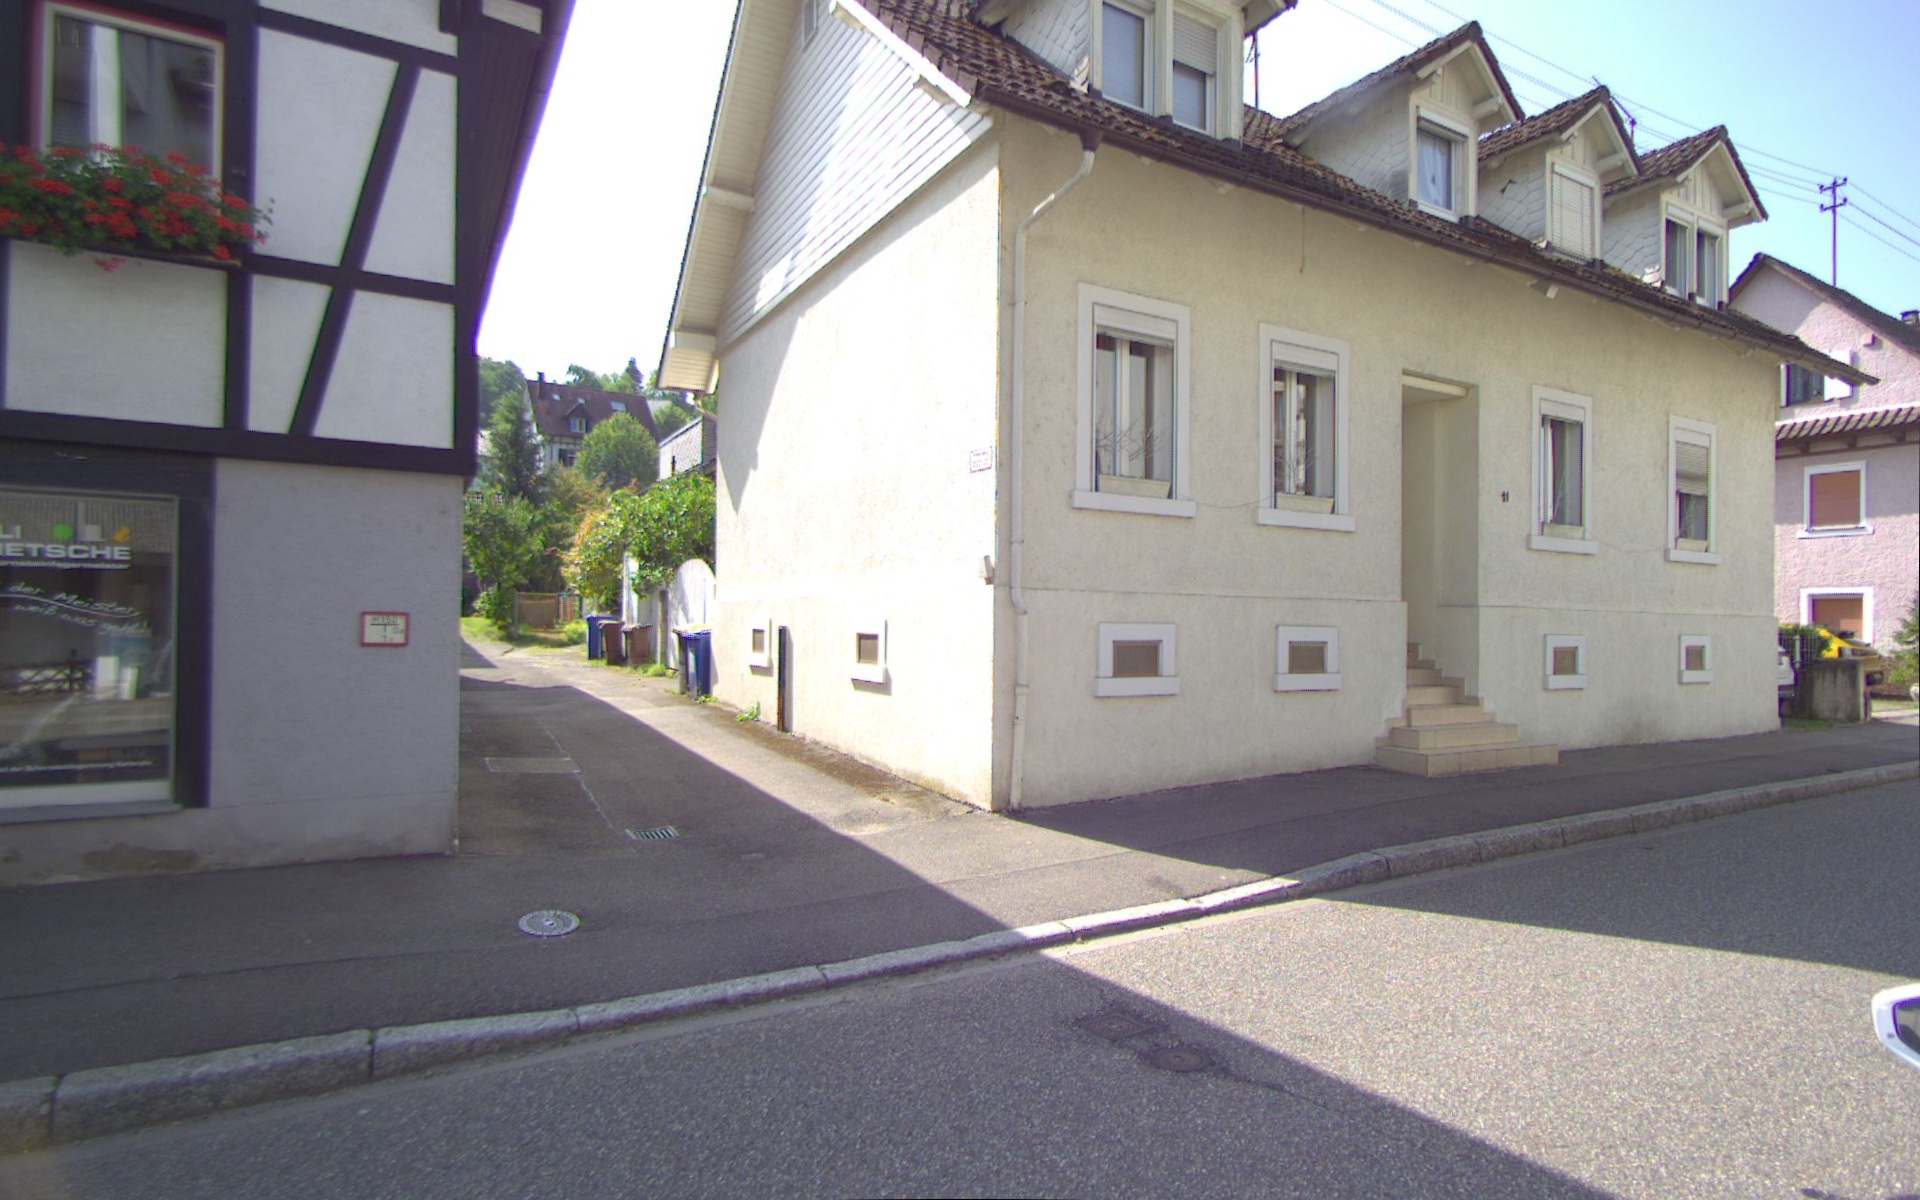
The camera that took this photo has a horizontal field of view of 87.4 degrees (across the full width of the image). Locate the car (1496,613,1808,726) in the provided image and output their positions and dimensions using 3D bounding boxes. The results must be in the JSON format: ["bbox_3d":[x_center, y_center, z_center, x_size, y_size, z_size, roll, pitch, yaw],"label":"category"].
[{"bbox_3d":[11.566,1.067,17.056,1.886,1.615,3.965,1,0,-32],"label":"car"}]

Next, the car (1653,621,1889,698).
[{"bbox_3d":[17.674,1.227,22.060,1.628,1.411,3.729,0,0,-33],"label":"car"}]
